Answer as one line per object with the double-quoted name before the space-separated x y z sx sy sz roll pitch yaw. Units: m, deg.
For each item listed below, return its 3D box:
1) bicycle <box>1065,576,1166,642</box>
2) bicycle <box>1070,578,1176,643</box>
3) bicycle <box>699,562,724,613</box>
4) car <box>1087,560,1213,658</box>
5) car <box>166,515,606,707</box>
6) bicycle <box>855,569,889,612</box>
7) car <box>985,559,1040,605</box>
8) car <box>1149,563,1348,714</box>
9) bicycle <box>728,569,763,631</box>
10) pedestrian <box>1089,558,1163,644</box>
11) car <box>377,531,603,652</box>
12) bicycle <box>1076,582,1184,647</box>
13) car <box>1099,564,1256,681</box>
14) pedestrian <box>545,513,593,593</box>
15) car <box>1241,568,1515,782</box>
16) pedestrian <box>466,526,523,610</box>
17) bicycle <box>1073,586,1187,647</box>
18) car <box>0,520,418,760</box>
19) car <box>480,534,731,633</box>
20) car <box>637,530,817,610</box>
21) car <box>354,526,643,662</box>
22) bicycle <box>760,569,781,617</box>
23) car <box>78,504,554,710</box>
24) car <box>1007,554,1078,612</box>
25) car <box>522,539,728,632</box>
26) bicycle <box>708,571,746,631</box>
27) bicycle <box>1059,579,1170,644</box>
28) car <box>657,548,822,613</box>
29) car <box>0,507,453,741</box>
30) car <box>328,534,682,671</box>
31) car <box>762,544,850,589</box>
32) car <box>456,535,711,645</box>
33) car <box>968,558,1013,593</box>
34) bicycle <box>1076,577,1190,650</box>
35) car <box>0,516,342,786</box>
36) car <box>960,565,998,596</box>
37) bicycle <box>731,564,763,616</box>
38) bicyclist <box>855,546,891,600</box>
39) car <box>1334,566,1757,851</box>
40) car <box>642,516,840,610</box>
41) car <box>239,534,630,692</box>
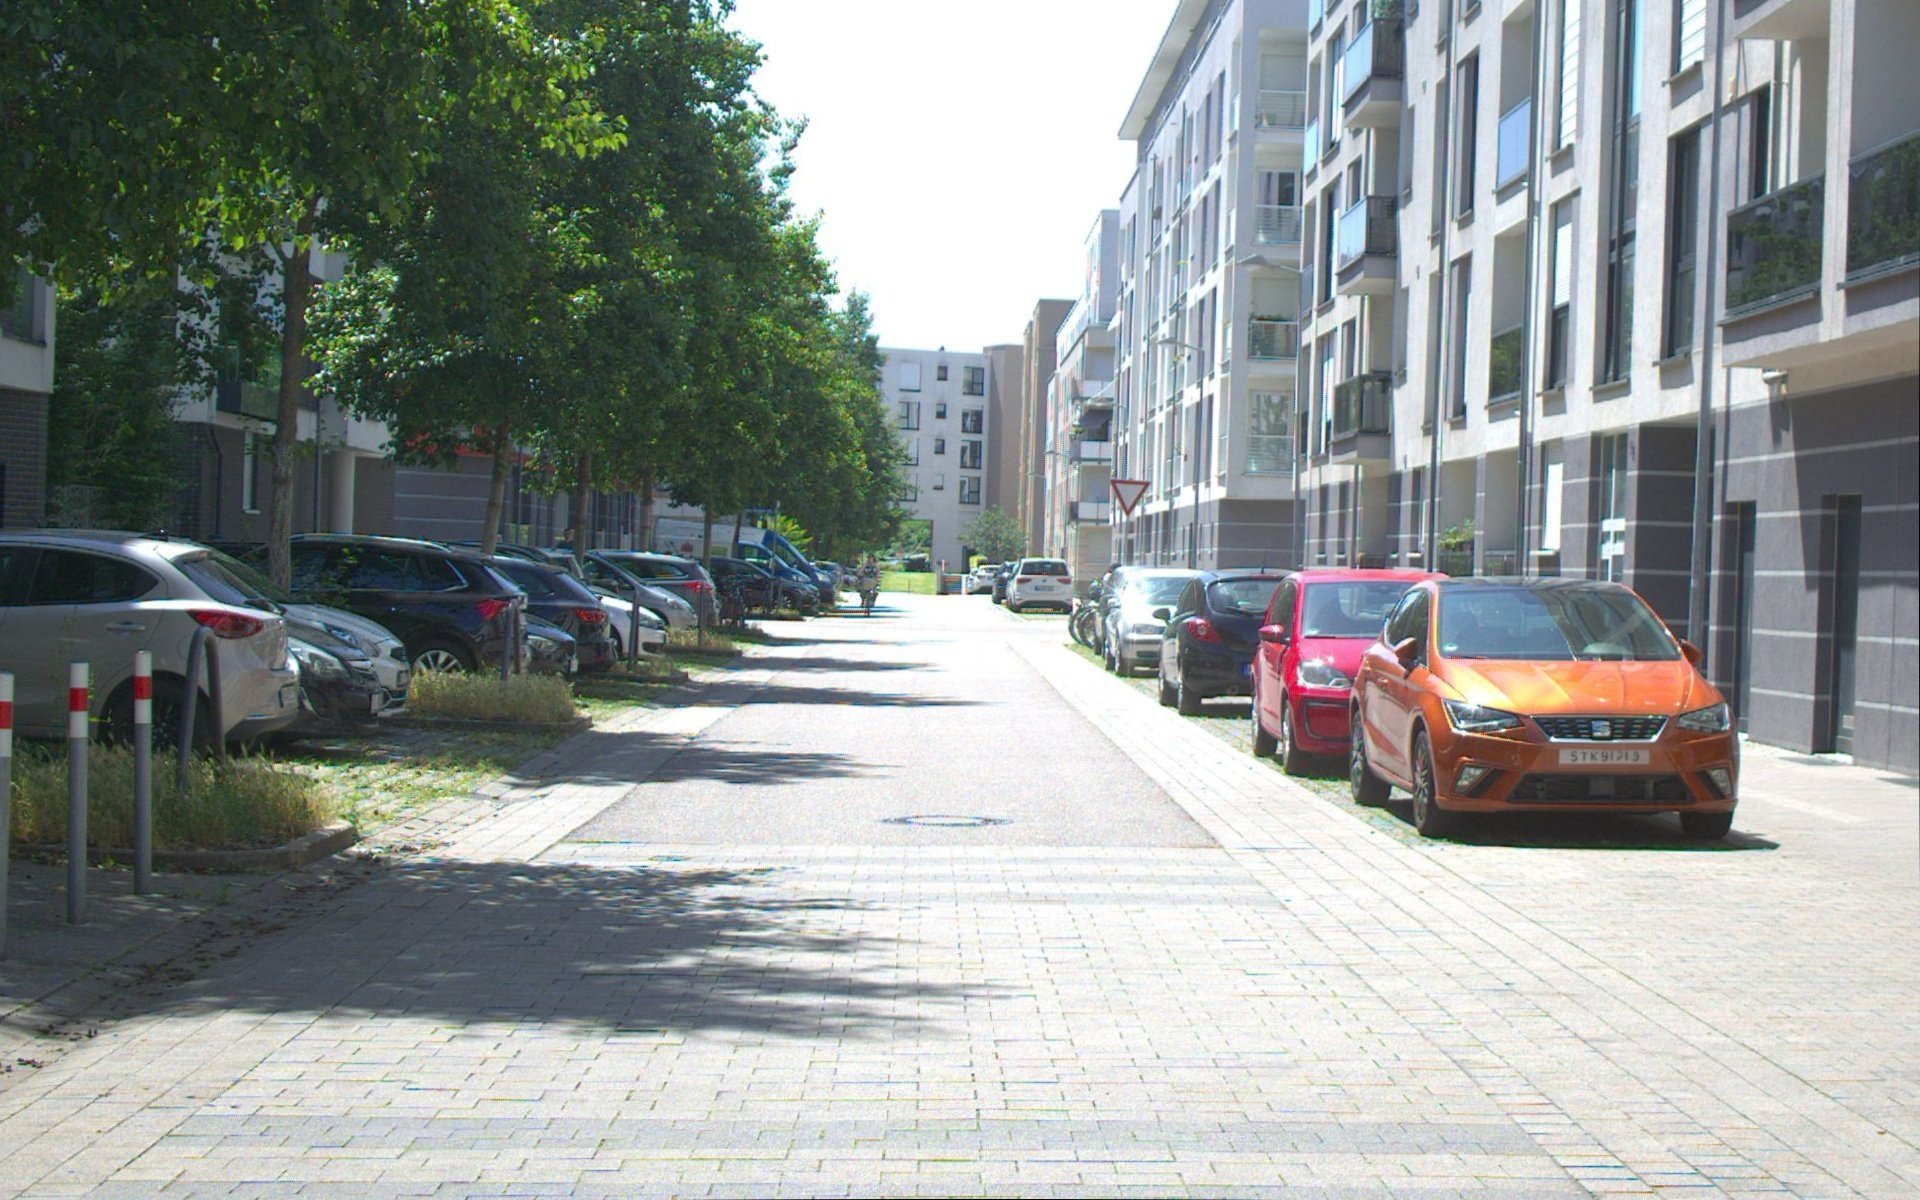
"bicycle" 2.894 0.165 64.110 1.860 1.189 0.687 1 0 3
"bicycle" 2.931 0.185 61.747 1.833 1.144 0.461 1 0 -19
"bicycle" -6.202 -0.325 85.788 0.518 1.200 1.752 3 2 -3
"car" 3.026 0.120 55.414 1.739 1.480 4.229 1 1 0
"car" -5.695 0.092 34.470 3.987 1.645 1.918 3 1 1
"bicycle" -2.434 -0.272 95.456 0.898 1.125 2.040 2 1 -1
"car" 1.900 -0.663 122.965 1.757 1.547 4.000 3 1 3
"car" 2.937 0.357 35.706 1.642 1.457 4.118 0 1 -1
"bicycle" -4.186 -0.006 67.048 0.371 1.176 1.821 1 1 -12
"pedestrian" 2.953 0.015 61.289 1.178 1.509 0.688 1 1 -10
"car" -6.742 -0.131 49.546 2.932 1.495 1.848 4 1 -2
"bicycle" 2.945 0.252 59.808 1.786 1.100 0.747 1 0 -4
"car" 2.931 0.274 47.095 1.834 1.499 4.351 0 1 0
"pedestrian" -9.942 -1.200 87.426 1.009 2.007 1.129 1 1 3
"car" 3.080 0.509 25.938 1.595 1.480 3.676 0 1 0
"pedestrian" -9.620 -0.662 71.079 1.000 1.684 0.832 2 1 1
"bicycle" 2.988 0.291 60.502 1.923 1.031 0.559 1 0 -4
"car" -6.196 0.218 24.472 4.316 1.471 1.793 4 1 0
"car" -6.106 -0.279 59.608 4.180 1.481 1.959 3 -1 -4
"car" -6.948 -0.899 102.831 5.145 2.112 2.312 3 1 0
"car" -6.208 -0.091 46.544 3.707 1.580 1.821 4 0 -6
"bicycle" -4.716 -0.181 85.751 0.466 1.138 1.926 2 1 -3
"car" -5.916 0.050 31.943 3.987 1.624 1.933 3 1 0
"car" 2.457 -0.524 102.855 1.997 1.651 4.115 1 1 0
"car" -6.258 -0.274 64.524 3.630 1.515 1.832 3 1 0
"bicycle" -4.547 0.012 67.020 0.433 1.124 1.979 1 1 -12
"bicycle" 2.793 0.204 62.112 1.924 1.129 0.609 1 0 9
"car" -6.120 -0.545 95.649 4.383 1.509 2.075 4 1 0
"car" -6.165 0.149 27.033 3.987 1.586 1.884 3 1 0
"car" -5.785 0.020 44.131 4.360 1.704 2.000 0 1 -3
"car" -7.479 -1.625 167.102 3.988 2.007 2.000 2 1 6
"car" -6.176 -0.177 56.710 3.937 1.548 1.872 3 1 -1
"car" 1.507 -1.227 171.517 1.993 1.669 4.000 2 1 -2
"bicycle" 2.964 0.228 59.061 1.869 1.213 0.715 1 0 -4
"car" -6.296 0.218 22.026 4.252 1.512 1.925 4 1 -1
"car" 1.073 -1.136 198.748 1.993 1.711 4.000 2 1 -2
"bicycle" -5.303 -0.251 85.531 0.570 1.170 1.769 5 2 -7
"bicyclist" -2.408 -0.756 95.495 0.954 1.454 0.800 2 1 -1
"car" 3.346 0.557 20.403 1.737 1.482 4.259 1 1 0
"car" -6.868 -1.163 108.261 6.023 2.807 2.605 1 1 0
"car" -5.612 0.129 37.116 3.973 1.440 1.776 3 0 -4
